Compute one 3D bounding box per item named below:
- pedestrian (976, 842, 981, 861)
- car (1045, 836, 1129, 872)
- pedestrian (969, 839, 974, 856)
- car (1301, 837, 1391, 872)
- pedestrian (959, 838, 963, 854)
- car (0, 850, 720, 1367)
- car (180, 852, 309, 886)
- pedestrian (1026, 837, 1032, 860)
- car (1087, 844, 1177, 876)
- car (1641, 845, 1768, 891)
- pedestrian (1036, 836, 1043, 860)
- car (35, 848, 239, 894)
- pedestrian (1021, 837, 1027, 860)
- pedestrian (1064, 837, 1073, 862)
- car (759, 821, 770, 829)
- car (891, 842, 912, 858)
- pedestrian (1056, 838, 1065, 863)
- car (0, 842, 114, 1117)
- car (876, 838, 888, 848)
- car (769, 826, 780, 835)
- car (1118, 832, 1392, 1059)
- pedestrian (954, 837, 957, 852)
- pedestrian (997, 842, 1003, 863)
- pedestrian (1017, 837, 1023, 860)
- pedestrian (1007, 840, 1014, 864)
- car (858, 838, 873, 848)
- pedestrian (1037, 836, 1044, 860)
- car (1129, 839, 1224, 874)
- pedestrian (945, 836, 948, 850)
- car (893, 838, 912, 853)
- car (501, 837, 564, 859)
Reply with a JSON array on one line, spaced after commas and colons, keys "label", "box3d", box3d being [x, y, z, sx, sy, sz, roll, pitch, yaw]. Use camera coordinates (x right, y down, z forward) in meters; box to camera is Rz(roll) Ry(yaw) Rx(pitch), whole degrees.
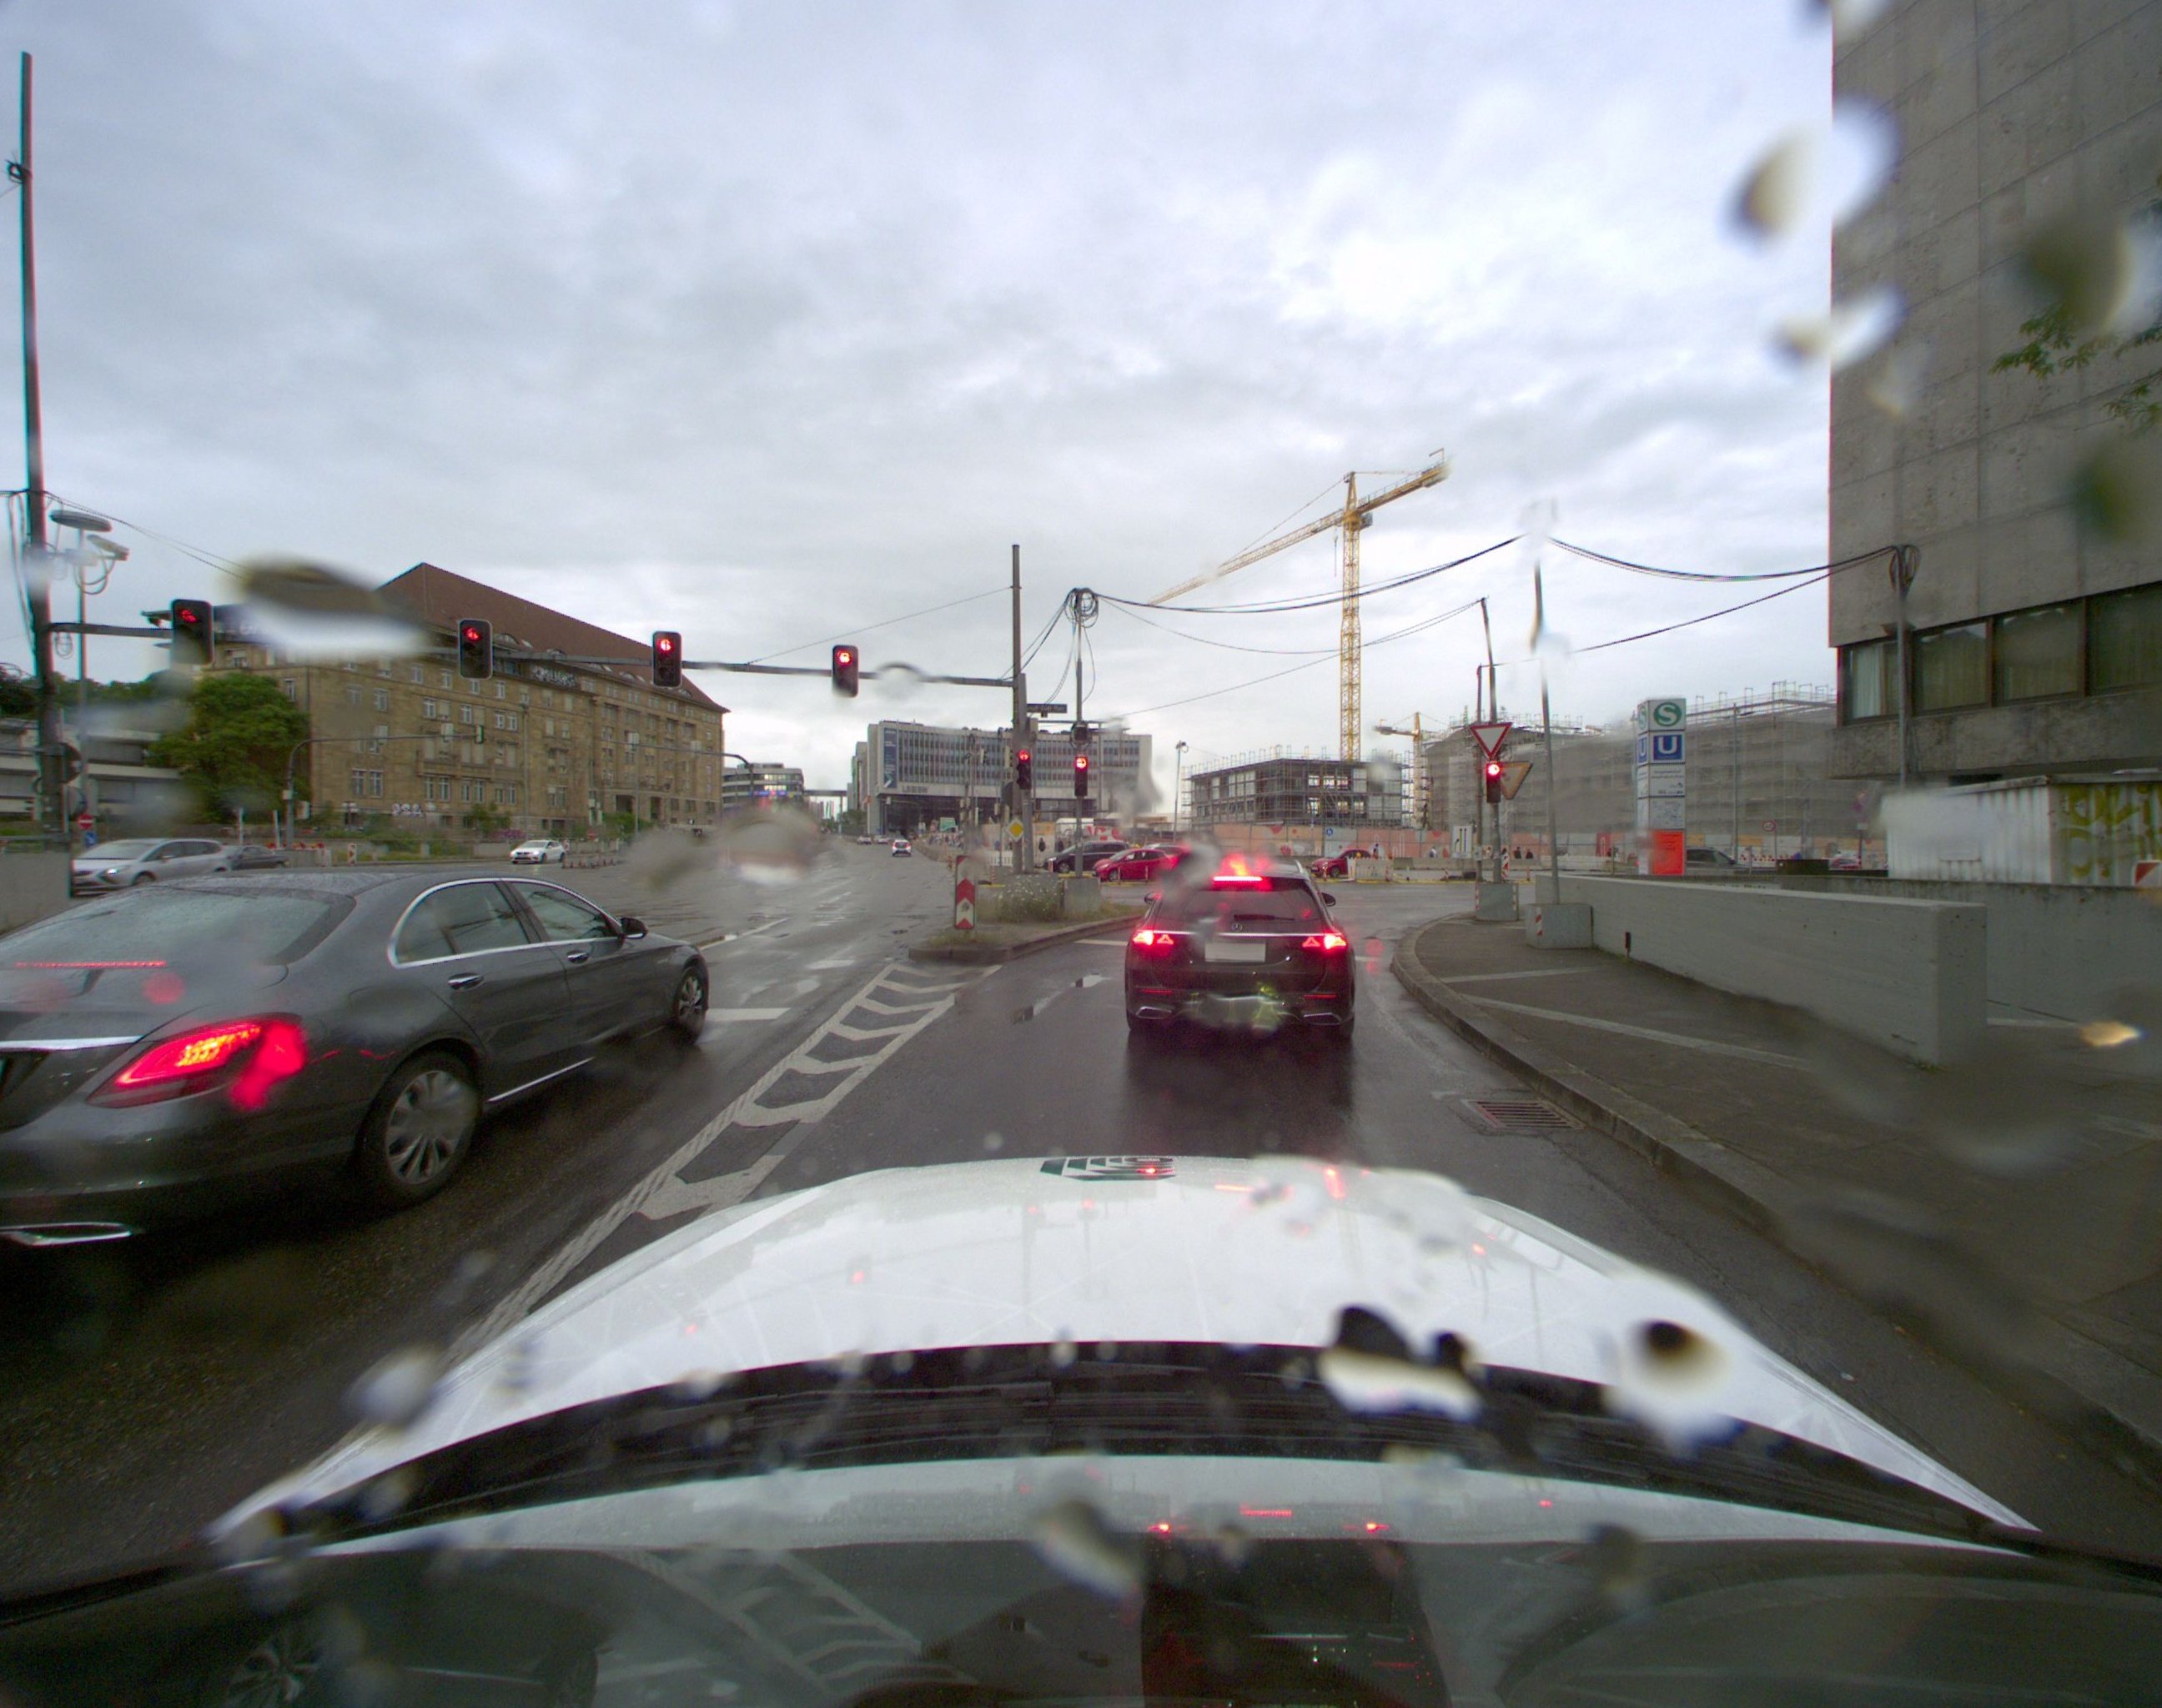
[{"label": "pedestrian", "box3d": [-10.508, -0.275, 83.526, 0.362, 1.898, 0.573, 1, -1, -16]}, {"label": "car", "box3d": [0.267, 0.031, 42.358, 3.993, 1.734, 1.990, 1, -1, -15]}, {"label": "pedestrian", "box3d": [-11.984, -0.732, 89.230, 0.362, 1.898, 0.573, 1, -1, -16]}, {"label": "car", "box3d": [13.665, 0.068, 42.099, 3.995, 1.708, 1.989, 1, -1, -16]}, {"label": "pedestrian", "box3d": [-14.322, -0.910, 97.361, 0.362, 1.898, 0.573, 1, -1, -16]}, {"label": "car", "box3d": [-3.771, 0.729, 4.534, 1.780, 1.402, 4.480, 1, 1, -4]}, {"label": "car", "box3d": [-33.658, 0.588, 32.924, 1.625, 1.260, 4.061, 1, -1, -13]}, {"label": "pedestrian", "box3d": [-4.412, -0.468, 68.673, 0.362, 1.898, 0.572, 1, -1, -20]}, {"label": "car", "box3d": [2.209, 0.289, 35.206, 3.542, 1.304, 1.656, 1, -1, -17]}, {"label": "car", "box3d": [25.629, 0.598, 33.481, 5.109, 1.798, 1.984, 1, -1, -24]}, {"label": "pedestrian", "box3d": [-3.375, -0.485, 66.458, 0.362, 1.898, 0.572, 1, -1, -20]}, {"label": "car", "box3d": [-28.281, 0.503, 24.637, 1.768, 1.260, 4.178, 1, -1, -11]}, {"label": "pedestrian", "box3d": [-4.773, -0.431, 68.505, 0.362, 1.898, 0.572, 1, -1, -20]}, {"label": "pedestrian", "box3d": [-0.960, -0.317, 62.066, 0.364, 1.898, 0.570, 2, -2, -40]}, {"label": "car", "box3d": [-91.383, -8.357, 234.963, 2.007, 1.816, 3.958, 1, -1, -33]}, {"label": "car", "box3d": [-17.131, -0.355, 77.699, 1.783, 1.473, 3.541, 1, -1, -15]}, {"label": "pedestrian", "box3d": [-1.547, -0.254, 60.786, 0.569, 1.898, 0.364, 0, -1, 30]}, {"label": "car", "box3d": [-6.739, 0.654, 2.446, 1.883, 1.515, 4.994, 1, -1, -5]}, {"label": "car", "box3d": [-36.500, -2.014, 149.476, 1.733, 1.639, 3.412, 1, 2, -20]}, {"label": "car", "box3d": [-79.055, -6.118, 210.153, 2.006, 2.014, 3.960, 1, -1, -31]}, {"label": "car", "box3d": [1.458, 0.659, 7.706, 1.881, 1.544, 4.001, 1, -1, 7]}, {"label": "pedestrian", "box3d": [-15.236, -1.150, 98.918, 0.362, 1.898, 0.573, 1, -1, -16]}, {"label": "pedestrian", "box3d": [-7.305, -0.099, 73.472, 0.362, 1.898, 0.572, 1, -1, -20]}, {"label": "pedestrian", "box3d": [-5.084, -0.484, 68.180, 0.362, 1.898, 0.573, 1, -1, -19]}, {"label": "pedestrian", "box3d": [-5.584, -0.123, 64.551, 0.363, 1.898, 0.572, 1, -1, -24]}, {"label": "car", "box3d": [-38.273, -1.925, 144.473, 2.002, 1.640, 3.970, 1, -1, -23]}, {"label": "pedestrian", "box3d": [-3.338, -0.482, 66.686, 0.362, 1.898, 0.572, 1, -1, -20]}, {"label": "car", "box3d": [4.536, 0.146, 38.901, 4.050, 1.552, 1.988, 1, -1, -18]}, {"label": "pedestrian", "box3d": [-18.694, -1.534, 113.246, 0.362, 1.898, 0.573, 1, -1, -16]}, {"label": "car", "box3d": [-21.847, -1.006, 99.474, 1.997, 1.766, 4.395, 1, -1, -15]}, {"label": "car", "box3d": [-34.266, -0.337, 51.002, 1.768, 1.260, 3.985, 1, -1, -11]}]
